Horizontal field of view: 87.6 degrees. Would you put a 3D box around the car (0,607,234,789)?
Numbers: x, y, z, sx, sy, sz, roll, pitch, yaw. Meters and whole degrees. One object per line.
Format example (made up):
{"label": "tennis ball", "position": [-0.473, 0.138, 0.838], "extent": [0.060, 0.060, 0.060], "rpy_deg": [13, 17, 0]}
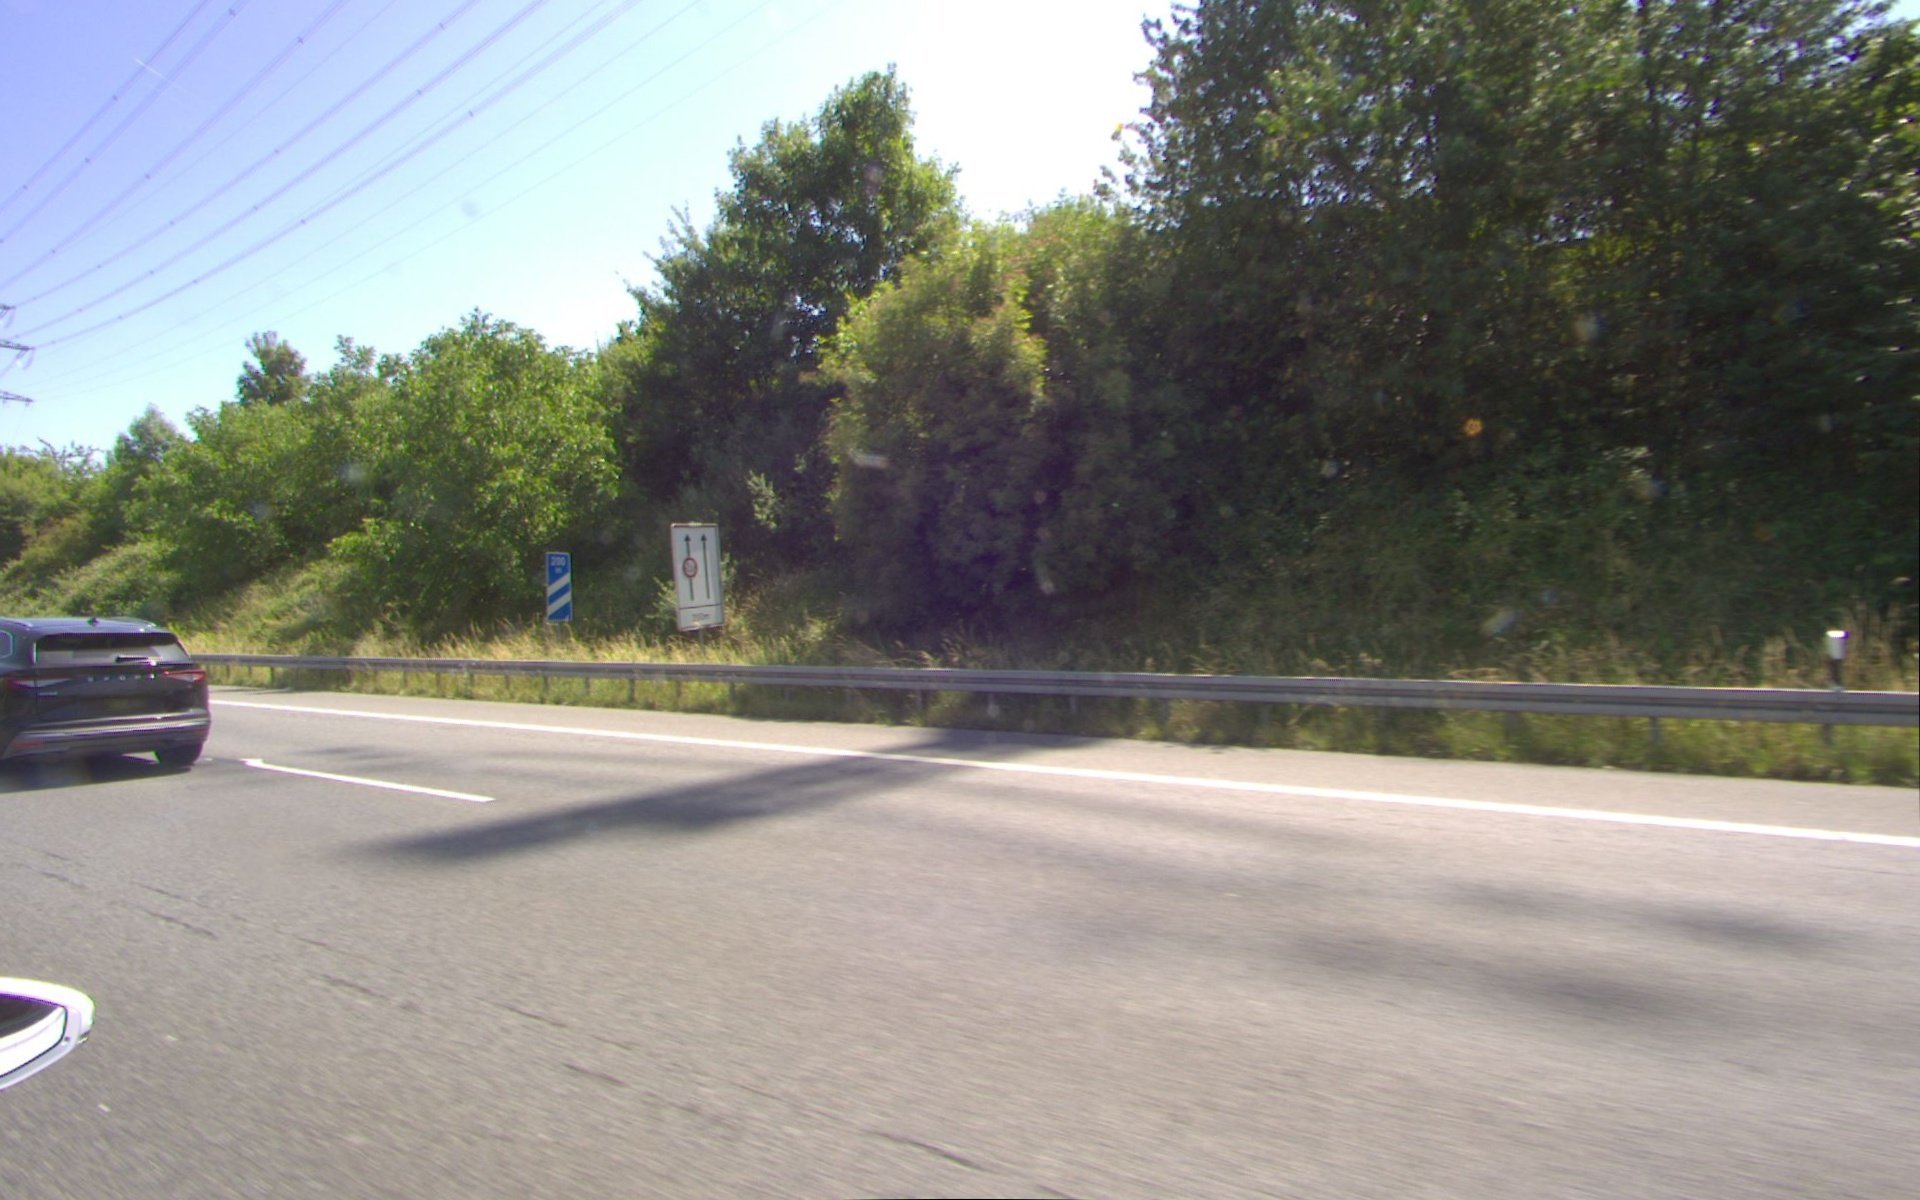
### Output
{"label": "car", "position": [-9.975, 0.938, 10.961], "extent": [4.368, 1.635, 1.825], "rpy_deg": [-1, -1, 33]}
